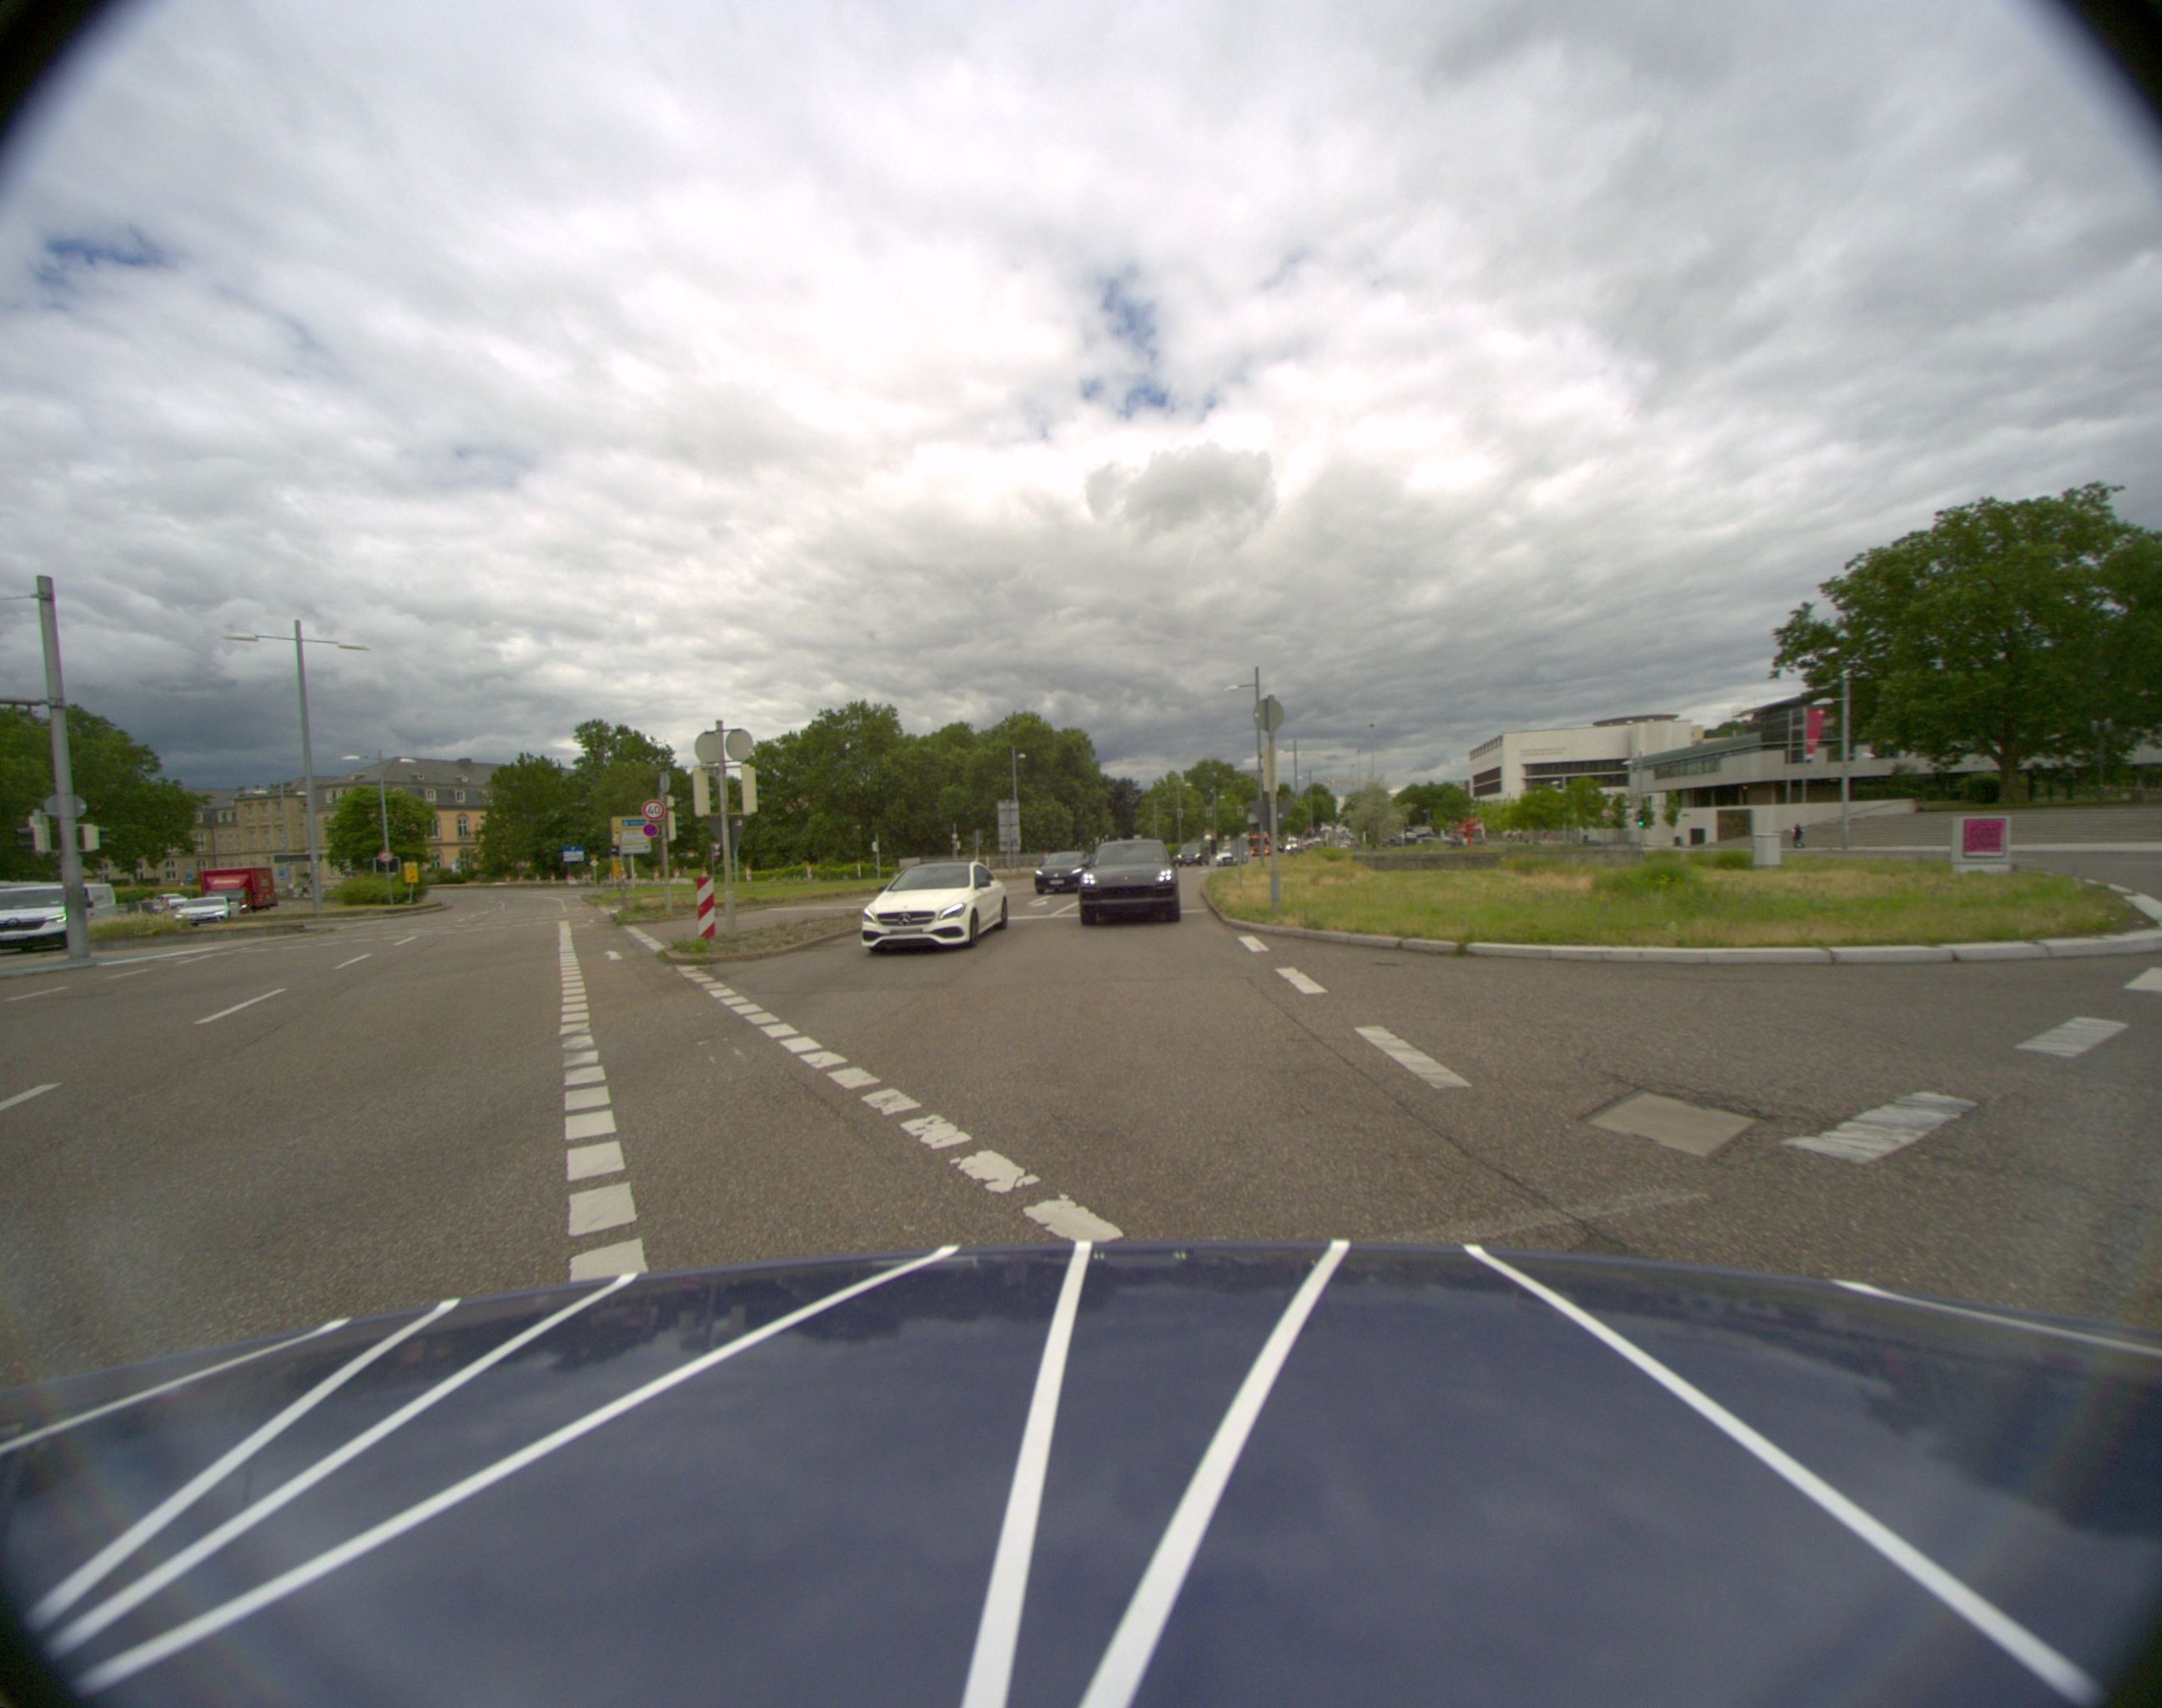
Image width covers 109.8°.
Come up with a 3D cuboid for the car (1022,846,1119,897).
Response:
[{"bbox_3d":[-0.282,0.599,28.415,1.996,1.537,4.574,-2,2,21],"label":"car"}]

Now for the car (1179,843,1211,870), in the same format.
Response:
[{"bbox_3d":[9.299,0.161,61.819,1.857,1.976,4.646,-2,1,17],"label":"car"}]

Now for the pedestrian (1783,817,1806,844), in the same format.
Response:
[{"bbox_3d":[46.867,-1.546,49.915,0.682,1.738,0.892,-3,1,13],"label":"pedestrian"}]

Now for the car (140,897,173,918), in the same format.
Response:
[{"bbox_3d":[-102.545,5.922,84.302,3.989,2.002,2.004,-2,2,42],"label":"car"}]

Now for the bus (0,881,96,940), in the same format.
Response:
[{"bbox_3d":[-65.507,3.418,46.606,3.441,3.185,13.028,-4,1,-41],"label":"bus"}]

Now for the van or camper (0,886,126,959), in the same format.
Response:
[{"bbox_3d":[-31.137,1.993,22.871,1.869,1.905,4.701,-4,1,-39],"label":"van or camper"}]

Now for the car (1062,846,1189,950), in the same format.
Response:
[{"bbox_3d":[1.130,0.767,15.860,2.003,1.629,5.023,-4,1,10],"label":"car"}]

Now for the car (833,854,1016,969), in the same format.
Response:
[{"bbox_3d":[-2.530,0.862,13.608,1.869,1.560,4.653,-3,1,5],"label":"car"}]

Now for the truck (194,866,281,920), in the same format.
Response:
[{"bbox_3d":[-60.683,2.737,54.872,2.797,3.470,8.328,-4,1,-39],"label":"truck"}]

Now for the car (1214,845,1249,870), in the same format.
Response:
[{"bbox_3d":[11.246,0.231,56.649,2.093,1.600,4.416,-2,1,17],"label":"car"}]

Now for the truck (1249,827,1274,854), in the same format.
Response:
[{"bbox_3d":[25.921,-1.921,108.817,2.723,3.595,9.188,-3,1,18],"label":"truck"}]

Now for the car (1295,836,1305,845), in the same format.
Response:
[{"bbox_3d":[49.605,-3.129,171.836,1.780,1.835,3.804,-3,1,22],"label":"car"}]

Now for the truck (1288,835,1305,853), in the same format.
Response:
[{"bbox_3d":[35.233,-1.715,124.077,1.952,2.768,5.796,-3,1,21],"label":"truck"}]

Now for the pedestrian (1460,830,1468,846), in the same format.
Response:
[{"bbox_3d":[40.023,-1.645,79.352,0.446,1.625,0.470,-3,1,-11],"label":"pedestrian"}]

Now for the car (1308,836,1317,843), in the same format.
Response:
[{"bbox_3d":[63.062,-3.914,206.787,1.780,1.835,3.804,-3,1,22],"label":"car"}]

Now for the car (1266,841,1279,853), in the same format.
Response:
[{"bbox_3d":[31.391,-1.171,124.453,1.780,1.897,3.803,-2,1,19],"label":"car"}]

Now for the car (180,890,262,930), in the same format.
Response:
[{"bbox_3d":[-43.682,2.780,38.684,2.003,1.744,3.950,-4,1,-39],"label":"car"}]
